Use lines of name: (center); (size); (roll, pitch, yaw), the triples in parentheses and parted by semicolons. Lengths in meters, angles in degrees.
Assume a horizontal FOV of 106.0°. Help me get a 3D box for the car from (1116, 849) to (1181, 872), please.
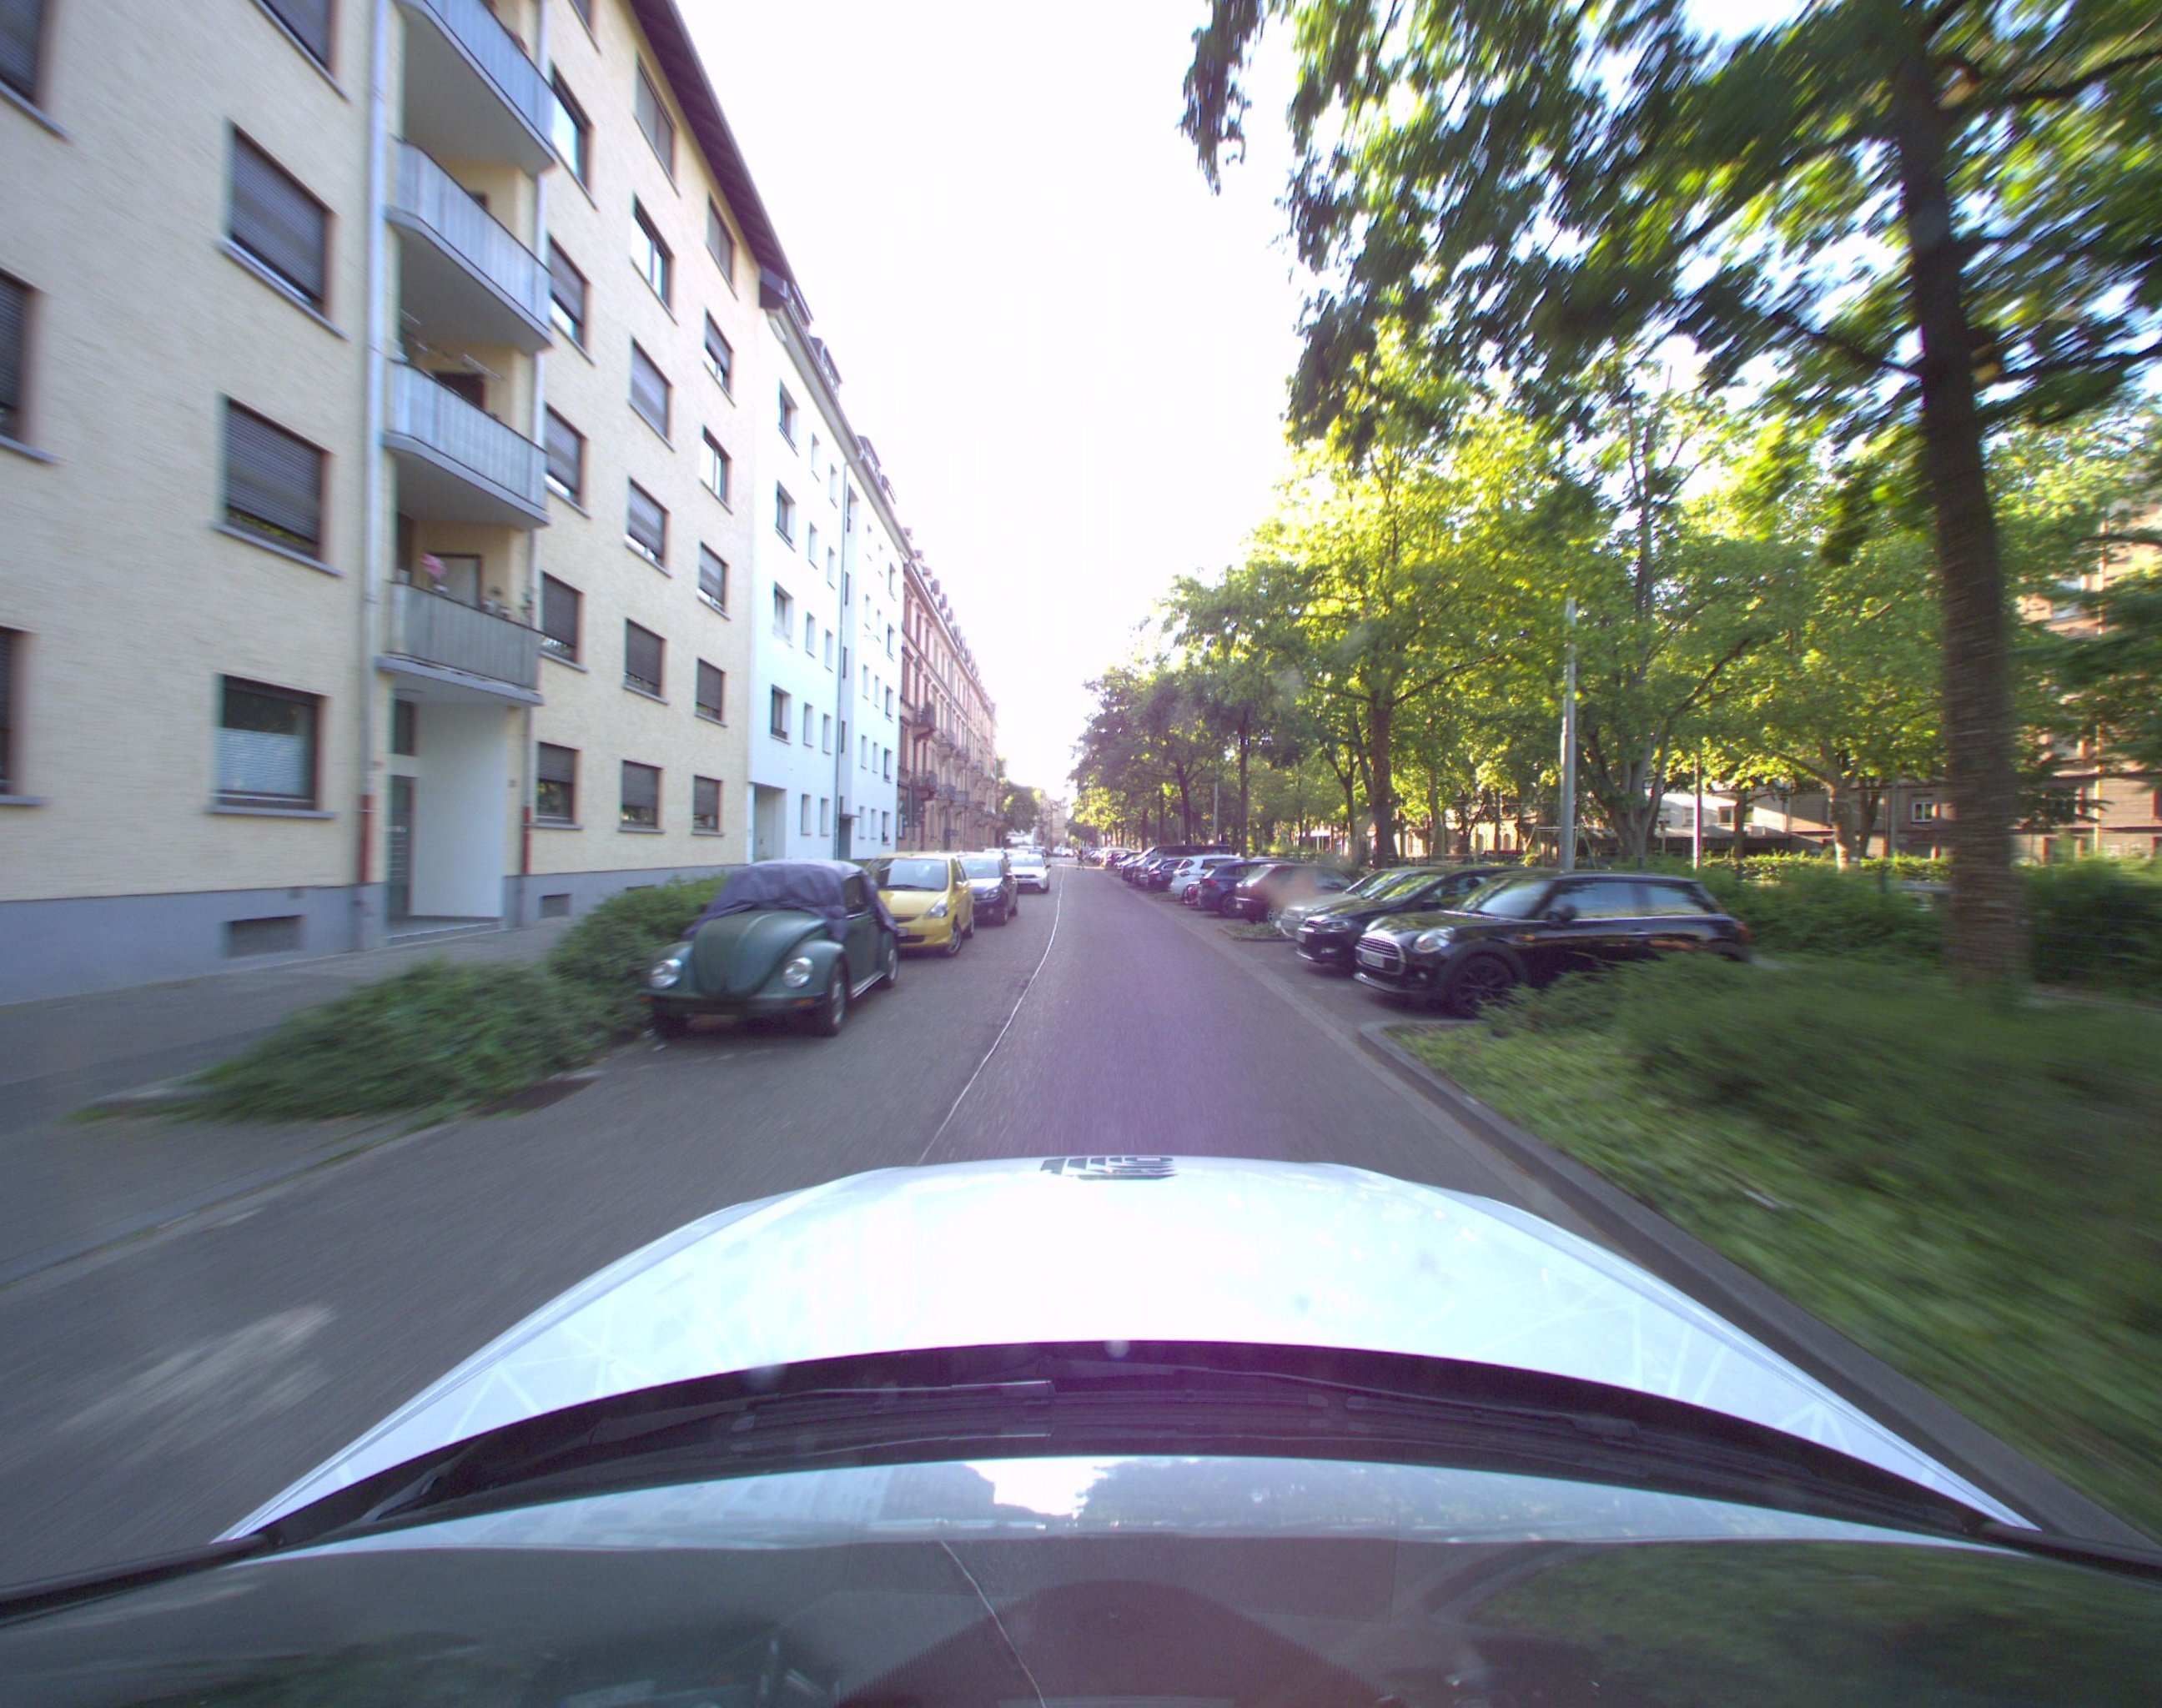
car: (4.800, 0.464, 58.503); (4.393, 1.591, 1.834); (0, 0, -6)

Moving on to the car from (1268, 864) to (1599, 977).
car: (4.636, 0.856, 11.143); (3.770, 1.401, 1.827); (0, -1, 0)

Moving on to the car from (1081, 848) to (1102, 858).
car: (2.232, -0.143, 174.106); (3.962, 2.014, 2.005); (2, -2, 10)

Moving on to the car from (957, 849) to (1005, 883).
car: (-4.681, 0.535, 38.553); (1.610, 1.451, 4.001); (3, 0, 1)

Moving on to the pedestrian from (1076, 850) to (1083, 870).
pedestrian: (-0.112, 0.492, 66.936); (0.377, 1.584, 0.521); (2, 2, 18)

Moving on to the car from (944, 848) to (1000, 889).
car: (-4.484, 0.555, 33.997); (1.663, 1.471, 4.283); (4, 0, 0)

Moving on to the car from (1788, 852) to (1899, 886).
car: (48.067, 0.920, 51.470); (2.001, 2.014, 4.705); (3, -2, -21)

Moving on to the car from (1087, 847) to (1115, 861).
car: (3.028, 0.010, 123.502); (3.979, 1.794, 1.856); (2, -2, -4)

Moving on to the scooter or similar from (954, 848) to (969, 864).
scooter or similar: (-9.467, 0.190, 64.765); (0.781, 1.222, 2.702); (2, -1, -1)

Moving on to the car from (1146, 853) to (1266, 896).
car: (4.655, 0.776, 30.808); (4.380, 1.577, 1.666); (0, -1, 3)

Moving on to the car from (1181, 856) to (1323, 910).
car: (4.854, 0.814, 23.452); (3.768, 1.474, 1.664); (0, -1, 1)

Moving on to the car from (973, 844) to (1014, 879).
car: (-4.654, 0.385, 43.840); (1.747, 1.706, 4.198); (2, 0, -1)

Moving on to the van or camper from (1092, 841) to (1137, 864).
van or camper: (3.793, -0.105, 93.245); (4.970, 2.377, 2.182); (2, -2, -3)

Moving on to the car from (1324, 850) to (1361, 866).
car: (30.032, 0.503, 93.492); (3.955, 1.684, 2.009); (2, -2, 18)

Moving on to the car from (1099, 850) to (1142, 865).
car: (3.906, 0.379, 80.716); (4.202, 1.453, 1.650); (-1, 0, 3)

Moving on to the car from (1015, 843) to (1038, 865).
car: (-5.228, -0.005, 78.387); (1.988, 1.921, 5.035); (2, -1, -2)

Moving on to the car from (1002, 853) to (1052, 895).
car: (-2.062, 0.727, 31.923); (1.663, 1.430, 4.000); (-1, 1, 0)

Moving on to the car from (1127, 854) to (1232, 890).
car: (4.340, 0.807, 36.209); (4.391, 1.501, 1.835); (0, -1, -4)

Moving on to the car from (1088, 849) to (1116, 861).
car: (3.153, 0.213, 120.832); (3.979, 1.563, 1.856); (2, -2, -4)

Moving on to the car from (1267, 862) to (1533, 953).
car: (5.144, 0.849, 13.467); (3.772, 1.401, 1.663); (0, -1, -2)

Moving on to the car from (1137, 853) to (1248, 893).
car: (4.538, 0.786, 33.614); (4.383, 1.577, 1.664); (0, -1, 1)

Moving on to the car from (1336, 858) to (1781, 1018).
car: (4.799, 0.800, 8.489); (3.776, 1.472, 1.632); (0, -1, -5)

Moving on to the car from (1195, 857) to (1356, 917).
car: (4.860, 0.821, 20.737); (3.765, 1.447, 1.666); (0, -1, 4)

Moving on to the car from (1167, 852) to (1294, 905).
car: (4.732, 0.779, 26.083); (3.770, 1.646, 1.663); (0, -1, -1)

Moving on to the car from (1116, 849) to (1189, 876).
car: (4.473, 0.532, 51.118); (4.388, 1.591, 1.836); (0, 0, -2)

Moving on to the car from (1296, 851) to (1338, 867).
car: (28.847, 0.601, 99.507); (4.659, 1.684, 2.010); (2, -2, 22)

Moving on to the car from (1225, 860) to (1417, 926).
car: (5.288, 0.861, 18.253); (3.776, 1.401, 1.763); (0, -1, -5)

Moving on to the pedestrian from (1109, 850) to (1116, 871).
pedestrian: (2.461, 0.500, 62.853); (0.377, 1.516, 0.521); (2, 2, 18)

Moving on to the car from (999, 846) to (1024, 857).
car: (-11.941, -0.485, 140.033); (3.974, 1.706, 1.999); (2, -2, 0)

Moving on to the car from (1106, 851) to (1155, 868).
car: (4.293, 0.440, 70.774); (4.073, 1.442, 1.759); (-1, 0, -4)

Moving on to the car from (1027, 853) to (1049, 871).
car: (-3.582, 0.659, 67.434); (1.498, 1.435, 2.756); (0, 0, 3)

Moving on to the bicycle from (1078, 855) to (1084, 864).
bicycle: (-0.024, 0.746, 102.639); (0.639, 1.100, 1.942); (2, -1, -2)

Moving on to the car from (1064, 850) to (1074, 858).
car: (-2.169, 0.008, 141.297); (1.664, 1.464, 3.997); (0, 0, -2)

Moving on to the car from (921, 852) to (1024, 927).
car: (-2.295, 0.699, 18.162); (1.733, 1.479, 4.000); (0, 0, 0)

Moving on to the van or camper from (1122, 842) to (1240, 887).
van or camper: (4.678, 0.479, 38.720); (5.394, 2.027, 2.030); (0, 1, 1)

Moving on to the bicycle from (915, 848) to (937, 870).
bicycle: (-8.903, 0.263, 46.760); (0.734, 1.206, 2.514); (2, 1, 0)

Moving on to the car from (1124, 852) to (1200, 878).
car: (4.778, 0.644, 48.368); (4.383, 1.440, 1.838); (0, 0, 1)

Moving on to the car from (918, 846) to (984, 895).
car: (-4.515, 0.541, 28.894); (1.663, 1.508, 3.998); (4, 0, -1)

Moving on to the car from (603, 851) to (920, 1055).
car: (-2.775, 0.742, 8.020); (1.561, 1.517, 3.782); (1, 0, 1)

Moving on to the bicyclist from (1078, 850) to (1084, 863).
bicyclist: (-0.003, 0.302, 102.554); (0.626, 1.573, 0.801); (2, -2, -2)

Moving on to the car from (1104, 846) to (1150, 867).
car: (4.285, 0.206, 76.277); (4.206, 1.864, 1.761); (-1, 0, -1)

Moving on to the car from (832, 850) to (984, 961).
car: (-2.630, 0.722, 13.213); (1.698, 1.525, 3.771); (1, 0, -1)
